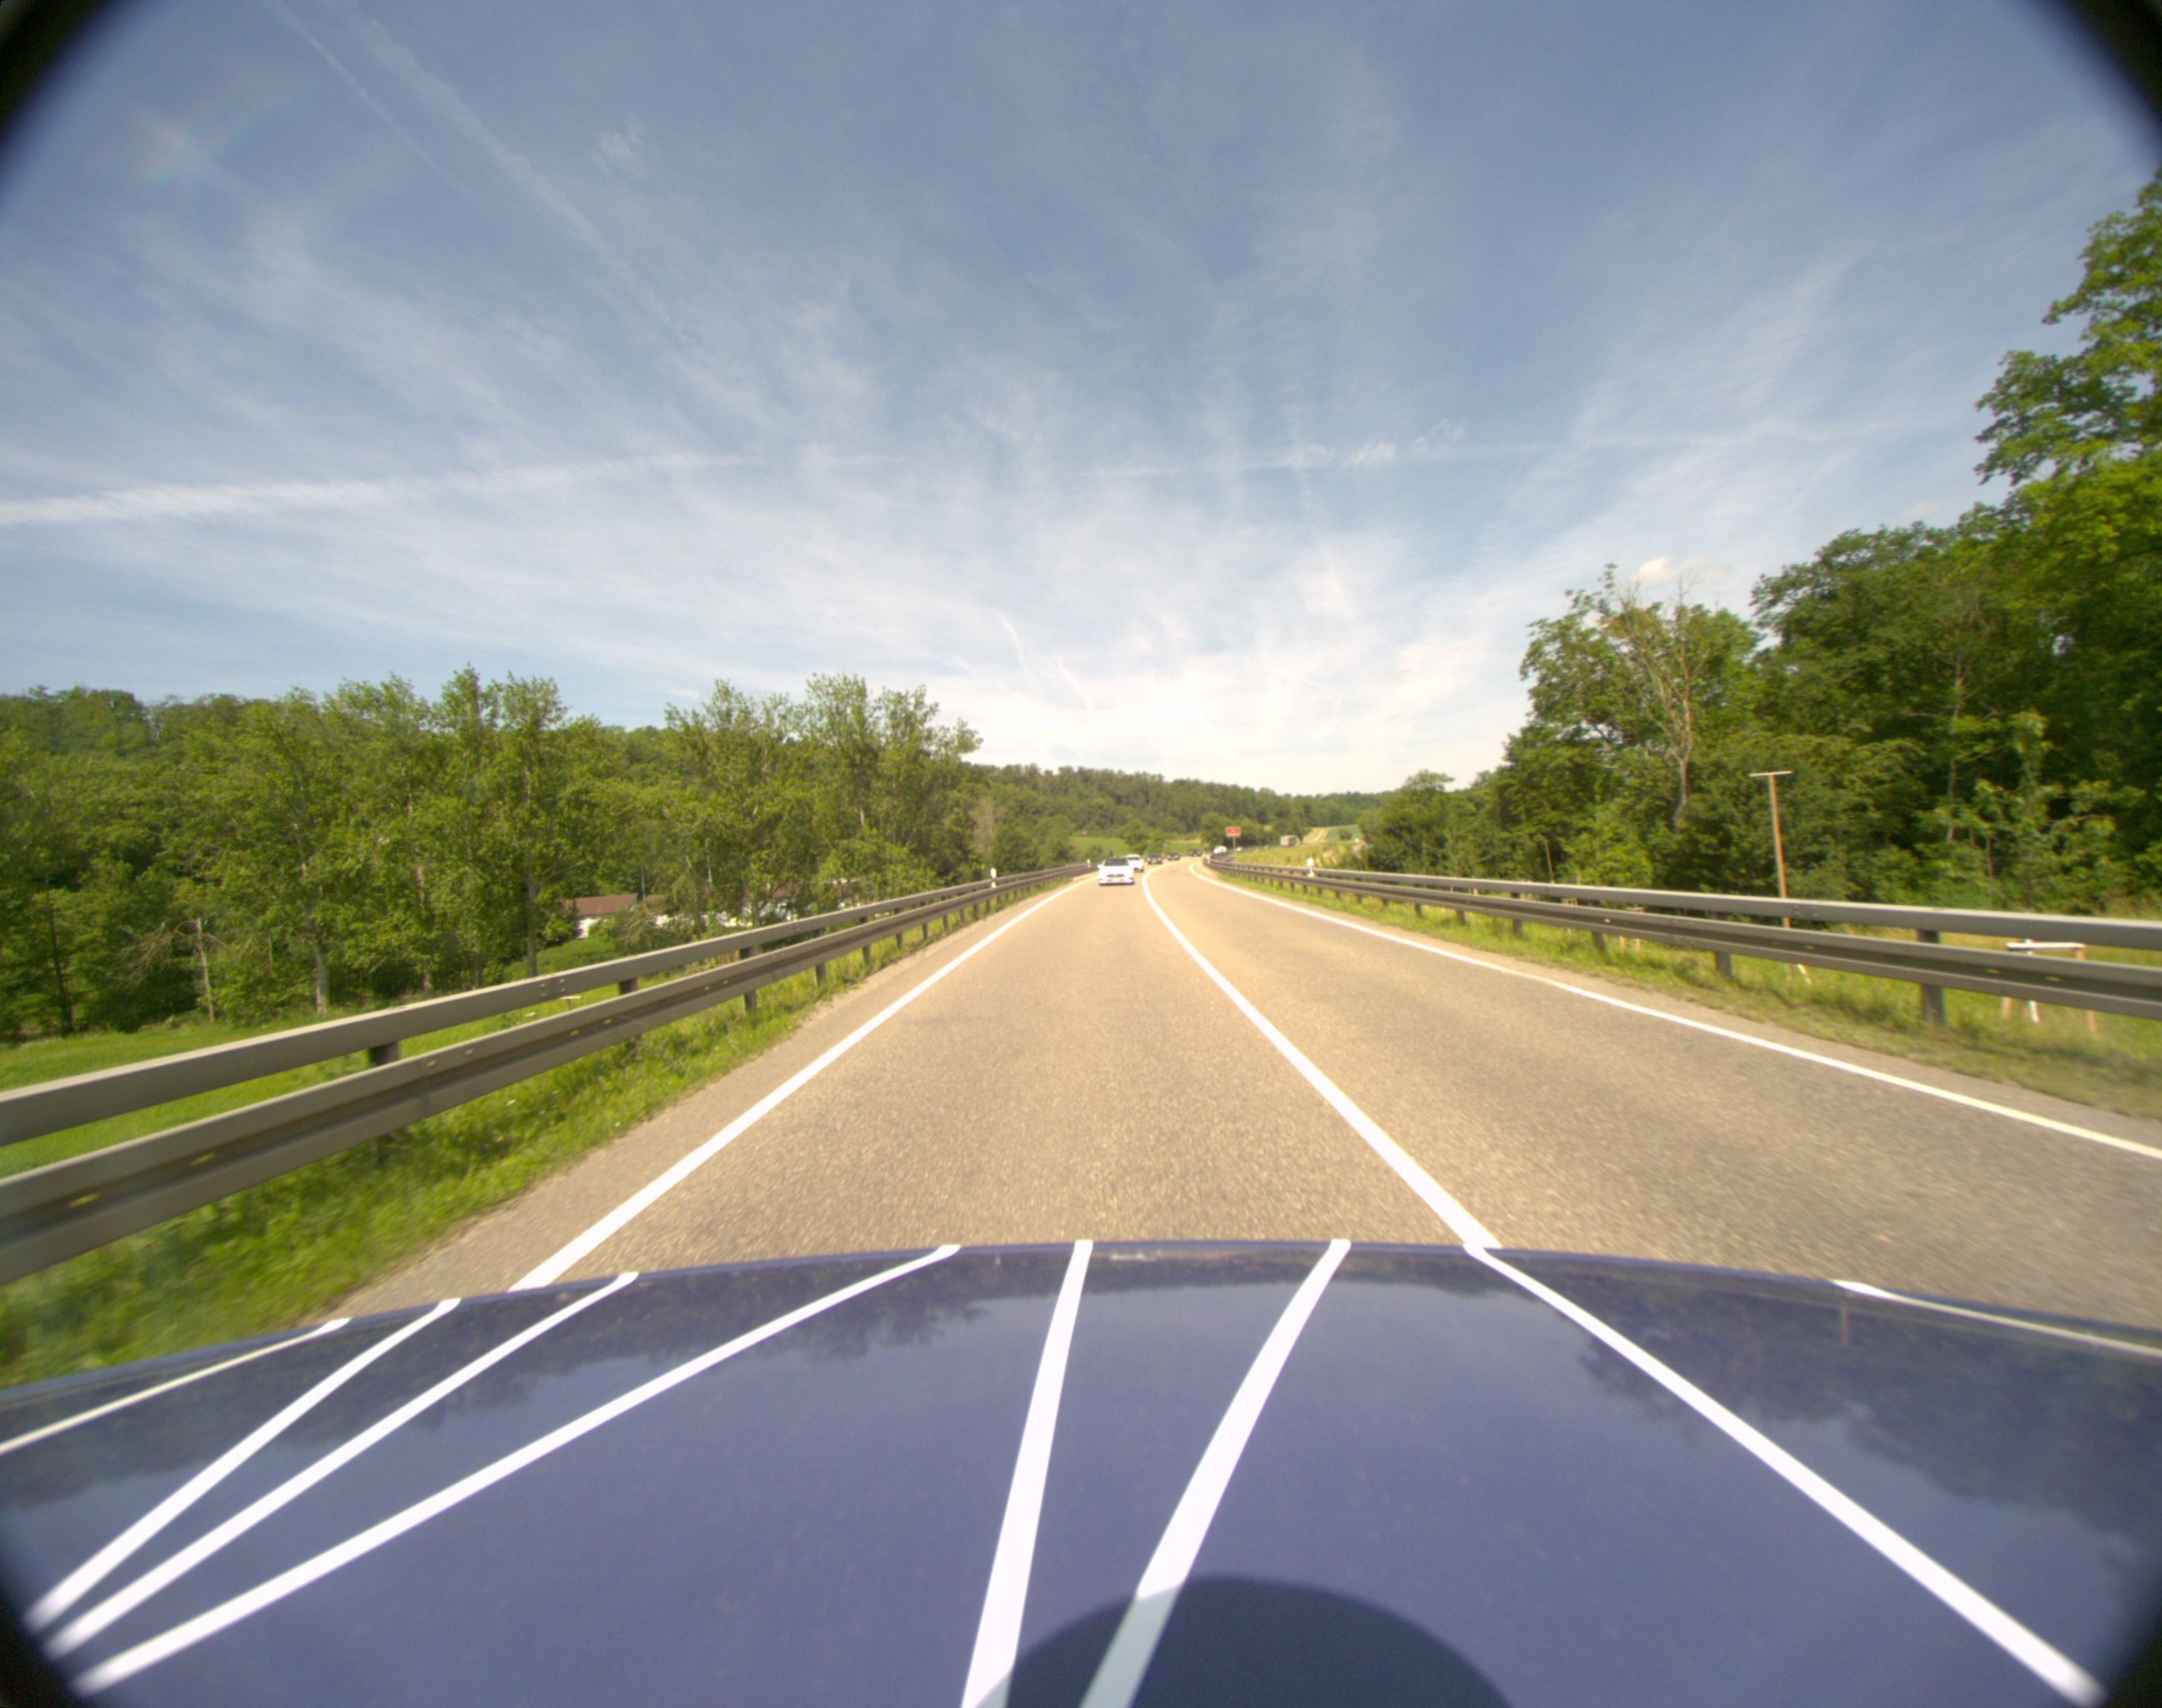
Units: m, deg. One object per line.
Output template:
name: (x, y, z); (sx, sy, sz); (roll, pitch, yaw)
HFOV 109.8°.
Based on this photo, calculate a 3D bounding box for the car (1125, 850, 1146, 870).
car: (4.766, 0.470, 65.932); (1.717, 1.523, 4.000); (-2, 1, 4)

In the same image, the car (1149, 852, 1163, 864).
car: (10.147, 0.566, 102.707); (1.742, 1.445, 4.037); (-2, 1, 6)

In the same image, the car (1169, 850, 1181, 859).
car: (16.216, 0.093, 131.268); (1.741, 1.445, 4.039); (-2, 1, 12)

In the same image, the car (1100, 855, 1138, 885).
car: (2.073, 0.812, 40.512); (1.742, 1.445, 4.037); (-2, 1, 7)

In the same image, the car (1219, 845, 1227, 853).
car: (32.809, -1.229, 175.345); (1.741, 1.765, 4.039); (-2, 1, 12)

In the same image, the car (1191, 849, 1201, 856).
car: (24.701, -0.289, 163.179); (1.741, 1.445, 4.039); (-2, 1, 13)
